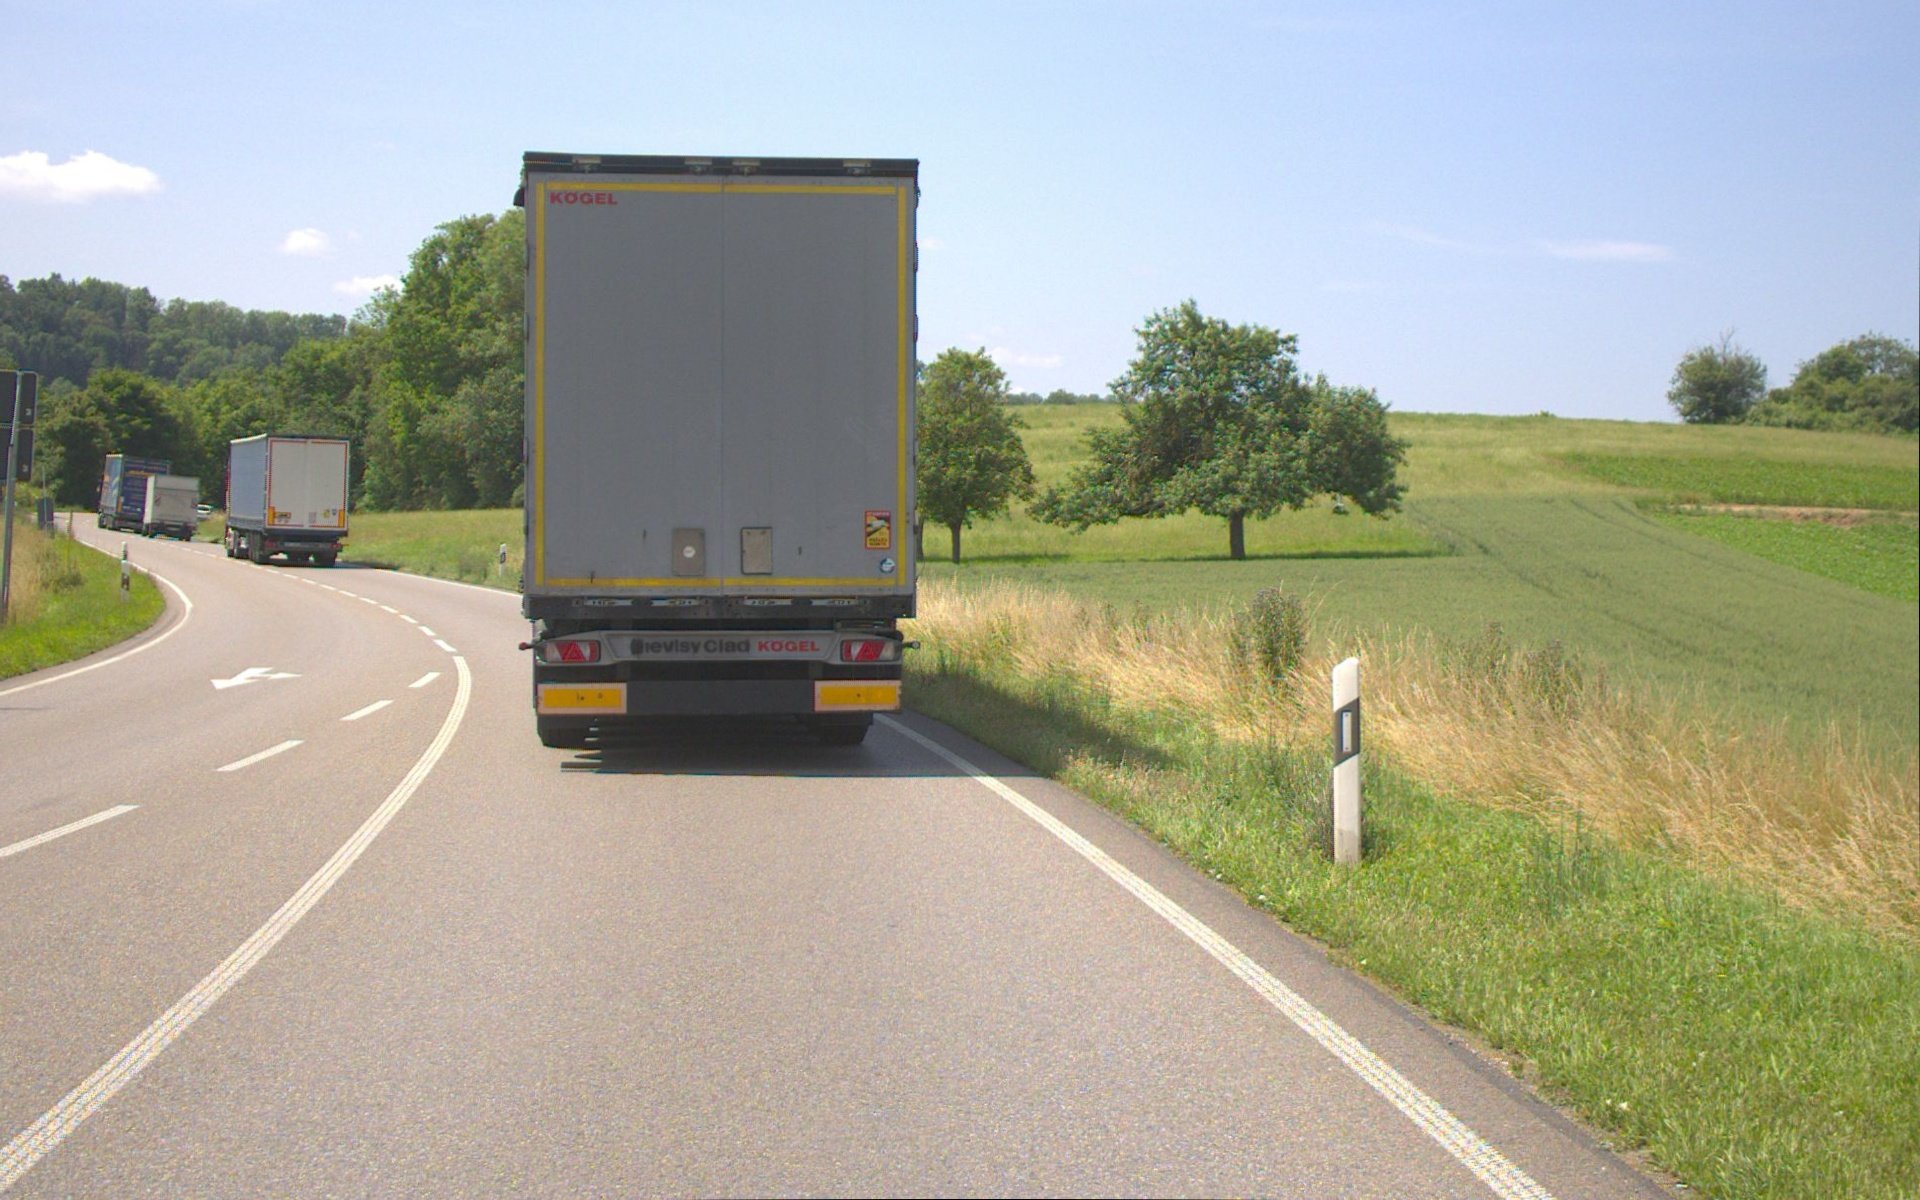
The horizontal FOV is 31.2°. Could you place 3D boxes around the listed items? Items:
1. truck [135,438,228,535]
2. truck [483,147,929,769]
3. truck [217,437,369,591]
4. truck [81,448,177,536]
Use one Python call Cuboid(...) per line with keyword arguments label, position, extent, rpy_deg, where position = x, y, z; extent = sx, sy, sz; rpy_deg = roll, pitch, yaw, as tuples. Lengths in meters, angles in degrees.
Cuboid(label="truck", position=(-38.331, -5.497, 168.932), extent=(3.636, 4.115, 13.101), rpy_deg=(3, -1, -16))
Cuboid(label="truck", position=(-2.211, -1.011, 26.787), extent=(2.807, 3.932, 9.593), rpy_deg=(1, 1, -7))
Cuboid(label="truck", position=(-21.976, -2.897, 112.444), extent=(2.960, 4.568, 16.322), rpy_deg=(2, 1, -17))
Cuboid(label="truck", position=(-44.994, -5.747, 185.808), extent=(3.528, 4.226, 13.409), rpy_deg=(3, -1, -19))
